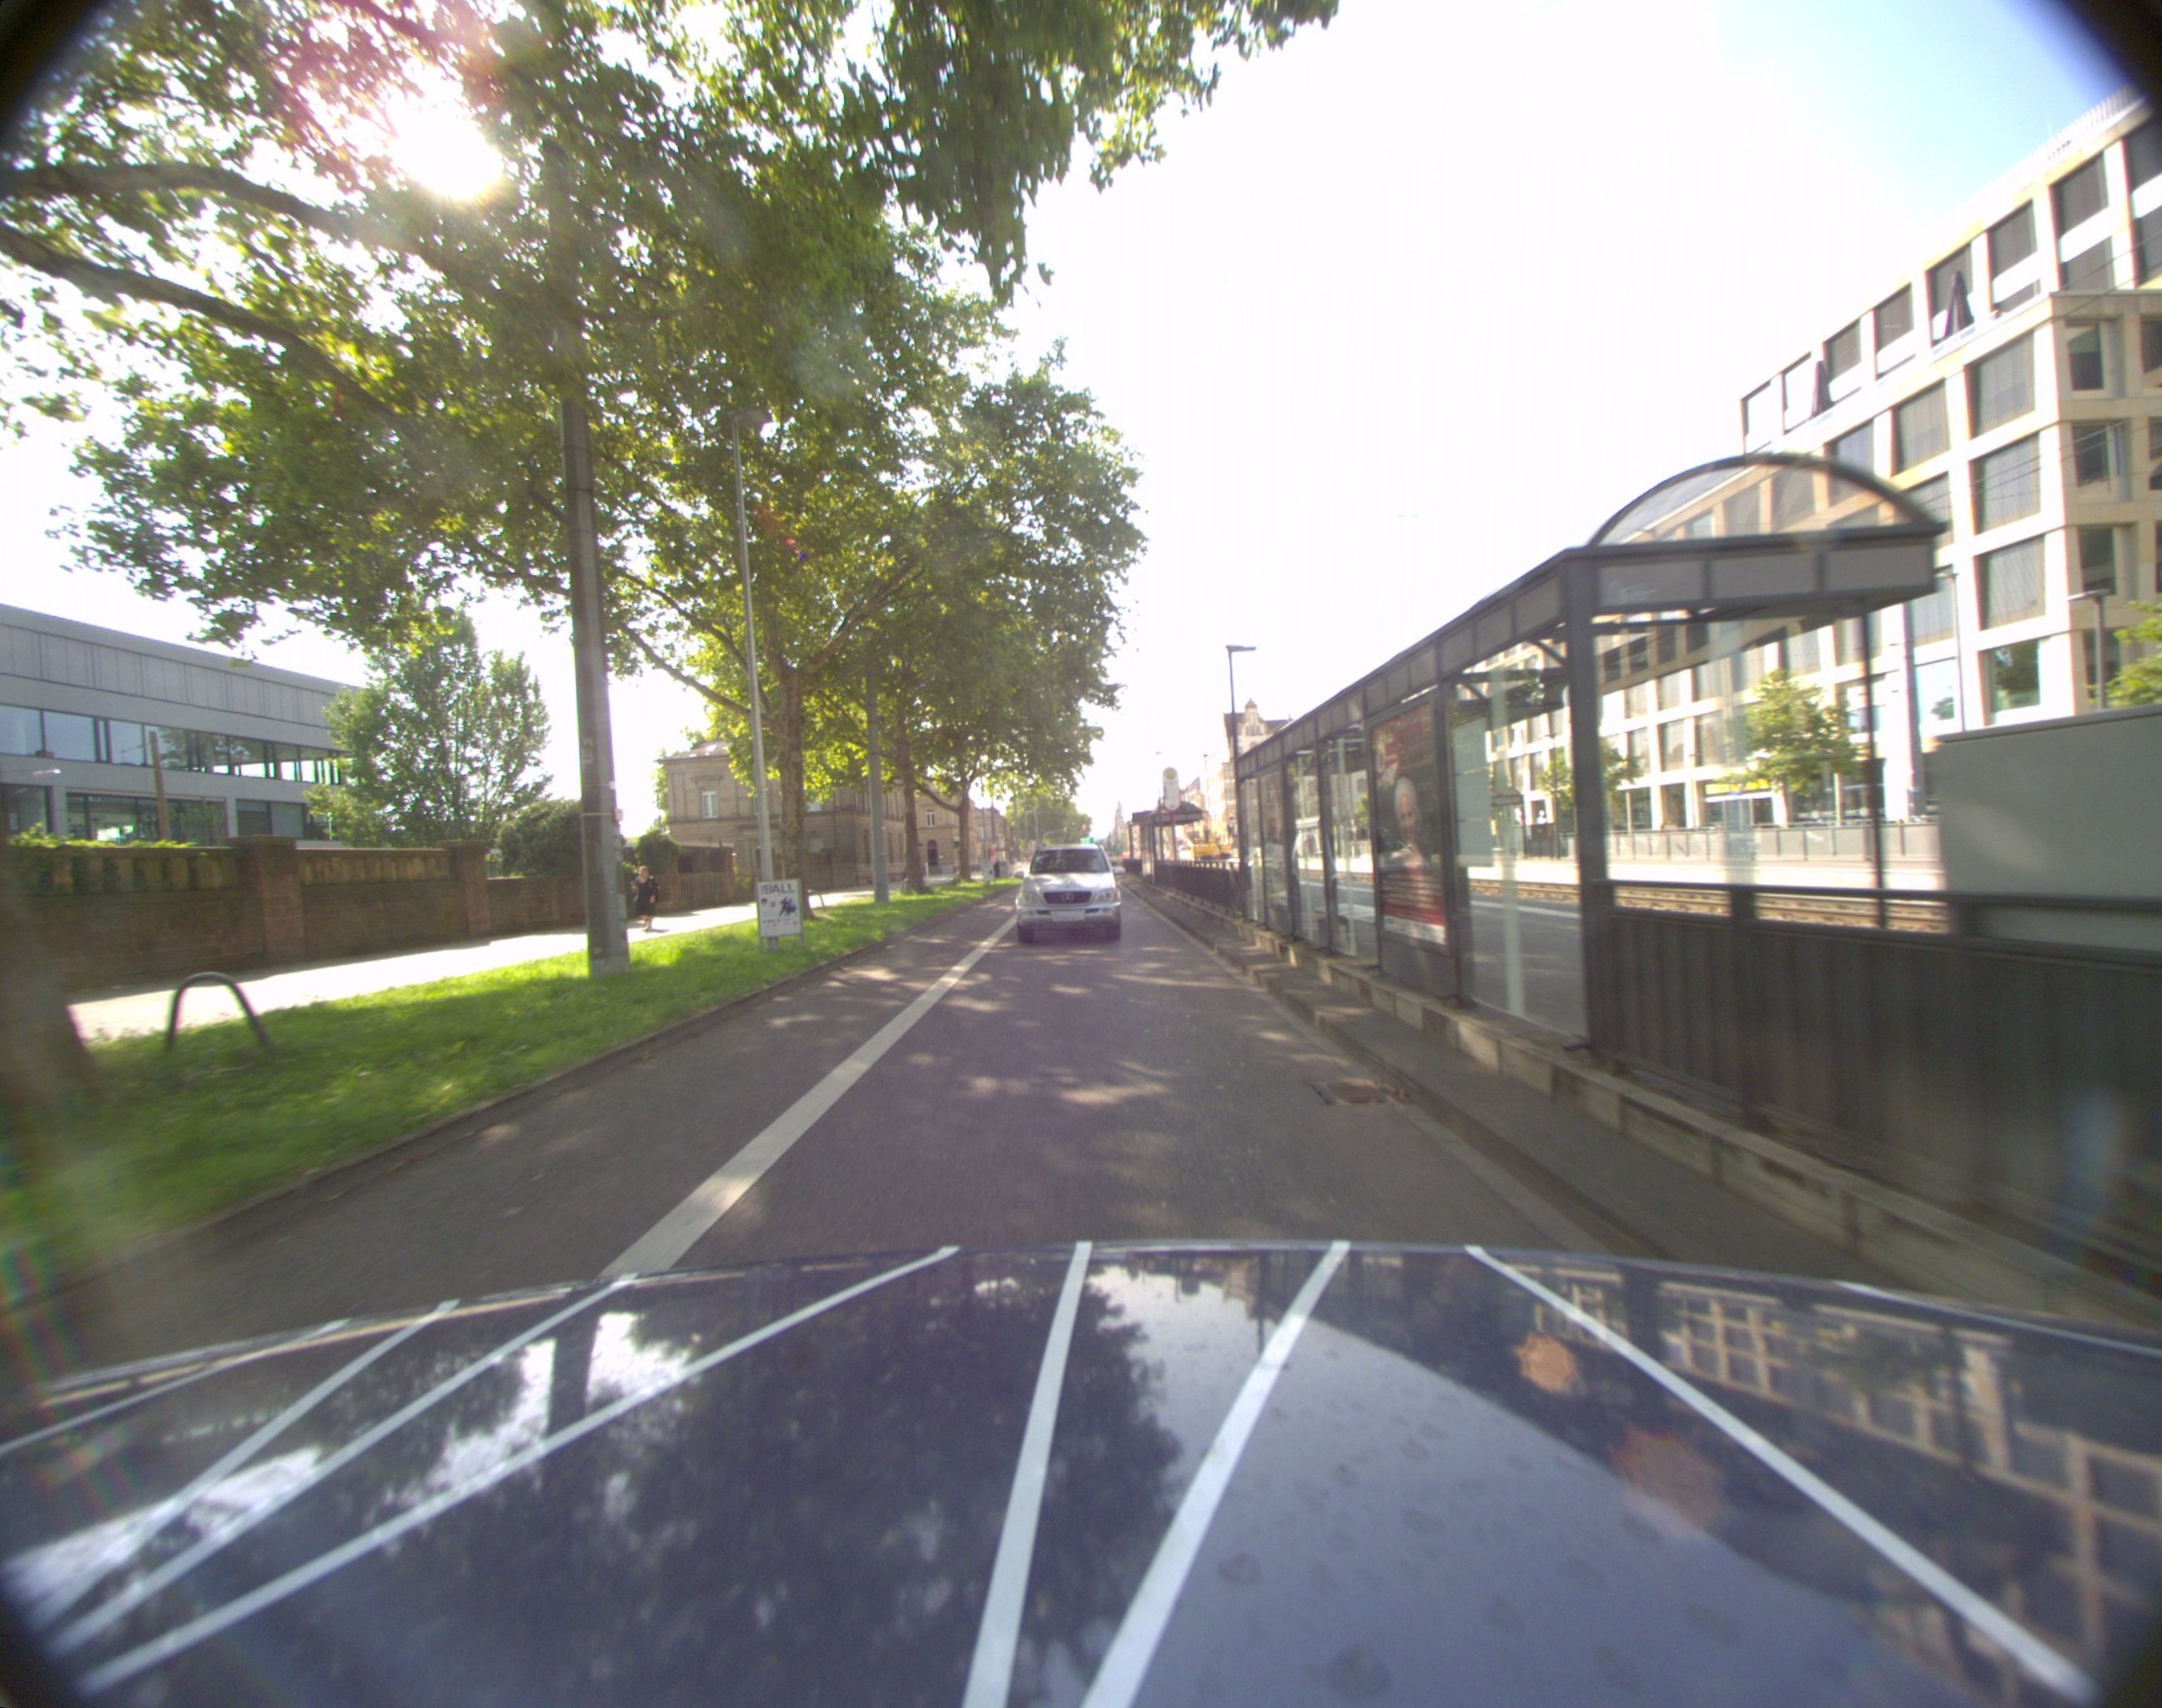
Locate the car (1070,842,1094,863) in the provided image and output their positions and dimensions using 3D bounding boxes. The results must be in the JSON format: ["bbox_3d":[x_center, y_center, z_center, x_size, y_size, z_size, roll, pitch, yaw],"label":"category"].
[{"bbox_3d":[0.063,-0.180,104.700,2.232,2.713,5.165,-4,0,-11],"label":"car"}]

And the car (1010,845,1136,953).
[{"bbox_3d":[-0.083,0.735,15.245,1.998,1.686,5.225,-3,0,1],"label":"car"}]

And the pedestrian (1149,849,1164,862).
[{"bbox_3d":[7.964,0.145,80.264,1.313,1.299,0.800,-3,0,24],"label":"pedestrian"}]

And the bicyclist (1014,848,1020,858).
[{"bbox_3d":[-9.576,-0.115,113.460,0.719,1.534,0.955,-3,0,-2],"label":"bicyclist"}]

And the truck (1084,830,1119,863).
[{"bbox_3d":[2.380,-0.832,93.264,2.682,3.657,8.208,-3,0,-9],"label":"truck"}]

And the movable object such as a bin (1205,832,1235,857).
[{"bbox_3d":[19.817,-1.324,108.480,2.853,3.310,8.346,-3,0,2],"label":"movable object such as a bin"}]

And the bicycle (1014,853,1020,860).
[{"bbox_3d":[-9.548,0.378,113.471,0.719,1.036,1.902,-3,0,-2],"label":"bicycle"}]

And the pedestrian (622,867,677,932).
[{"bbox_3d":[-11.688,1.217,20.600,0.821,1.676,1.012,-3,1,1],"label":"pedestrian"}]

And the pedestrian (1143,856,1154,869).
[{"bbox_3d":[6.962,0.857,78.526,1.017,1.299,0.983,-3,0,4],"label":"pedestrian"}]

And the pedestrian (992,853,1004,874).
[{"bbox_3d":[-6.658,0.774,60.827,0.690,1.687,0.647,-3,1,-21],"label":"pedestrian"}]

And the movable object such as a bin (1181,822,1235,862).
[{"bbox_3d":[14.231,-1.331,84.477,3.507,3.989,9.055,-3,0,24],"label":"movable object such as a bin"}]

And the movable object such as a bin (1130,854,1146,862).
[{"bbox_3d":[5.934,0.414,78.705,1.507,0.649,0.702,-3,0,21],"label":"movable object such as a bin"}]
